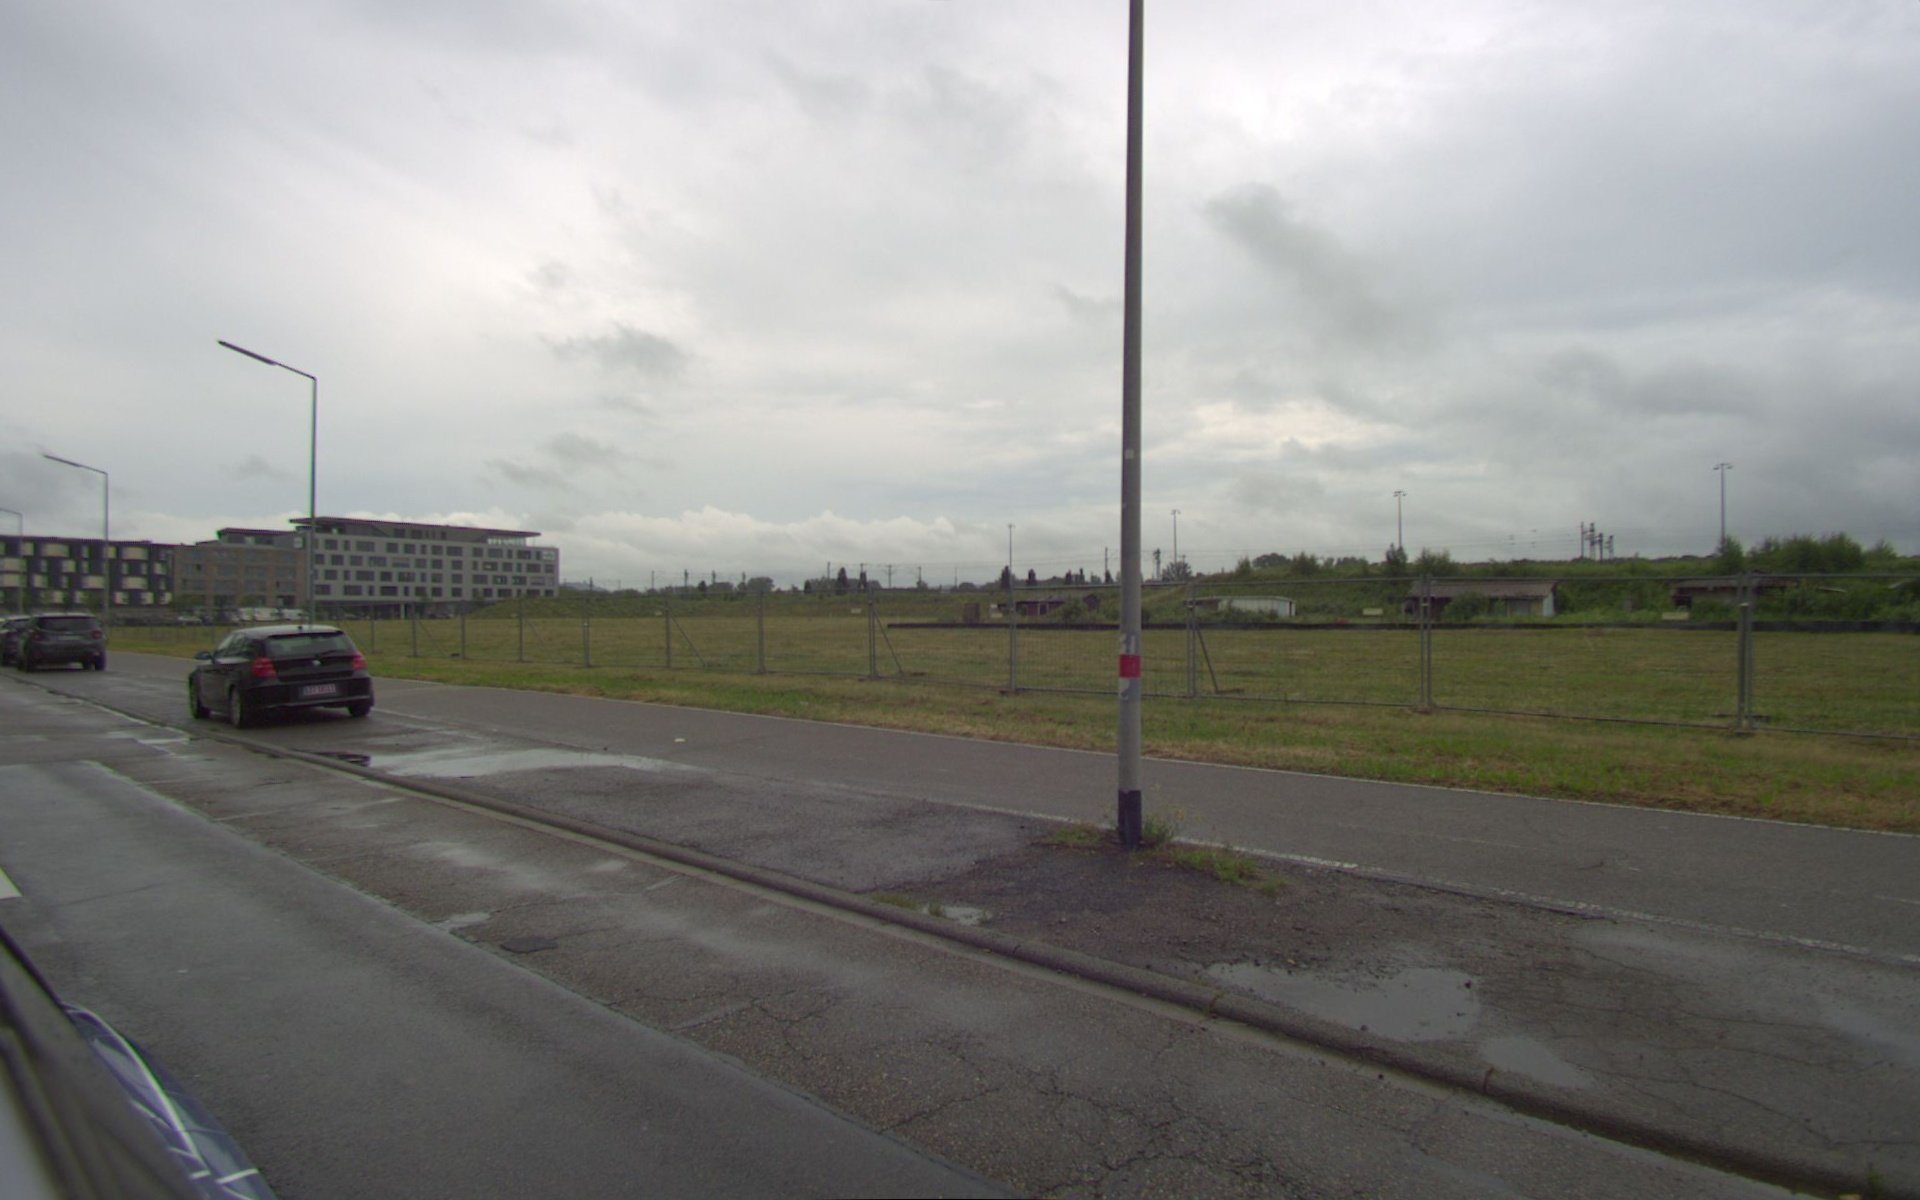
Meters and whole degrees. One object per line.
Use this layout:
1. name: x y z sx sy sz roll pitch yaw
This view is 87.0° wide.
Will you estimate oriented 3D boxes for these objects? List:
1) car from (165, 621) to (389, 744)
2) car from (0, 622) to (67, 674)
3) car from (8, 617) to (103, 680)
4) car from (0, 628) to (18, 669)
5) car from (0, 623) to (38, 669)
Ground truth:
1. car: -10.652 1.163 15.677 4.150 1.573 1.828 -1 1 41
2. car: -31.134 1.569 33.558 4.131 1.602 1.734 -2 -2 41
3. car: -26.918 1.399 30.070 4.881 1.706 1.733 -2 -2 44
4. car: -39.621 1.981 40.896 4.668 1.540 1.818 -1 1 41
5. car: -35.681 1.680 37.483 4.206 1.587 1.708 -1 -1 39
